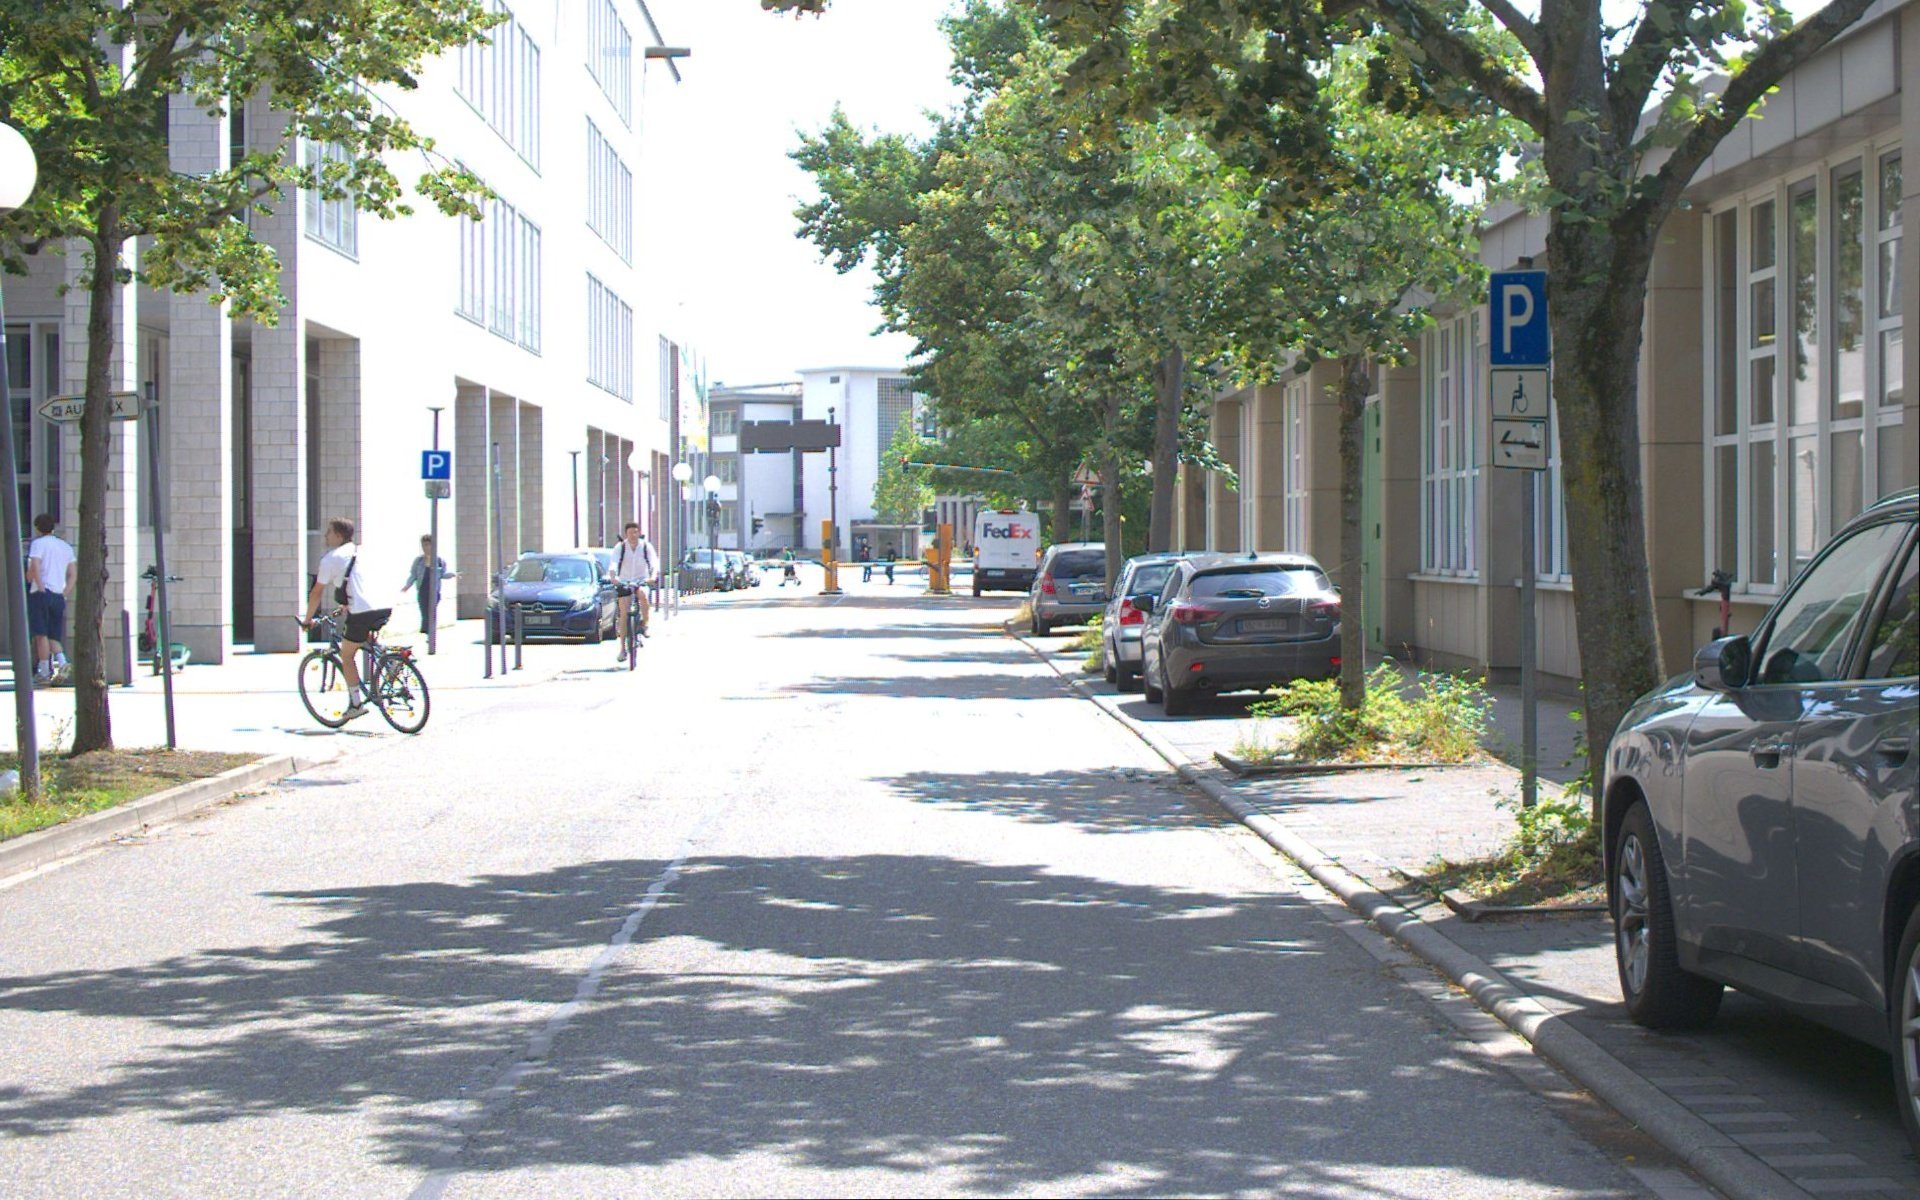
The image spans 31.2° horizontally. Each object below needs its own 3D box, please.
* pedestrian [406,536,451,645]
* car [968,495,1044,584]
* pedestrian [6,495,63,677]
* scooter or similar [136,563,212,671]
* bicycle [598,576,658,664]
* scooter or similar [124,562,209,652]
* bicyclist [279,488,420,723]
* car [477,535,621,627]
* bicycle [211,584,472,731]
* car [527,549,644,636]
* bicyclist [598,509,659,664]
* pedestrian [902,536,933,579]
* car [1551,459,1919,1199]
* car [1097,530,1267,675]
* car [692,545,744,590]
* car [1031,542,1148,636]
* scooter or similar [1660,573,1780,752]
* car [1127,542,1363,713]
[{"bbox_3d":[-8.394,-0.158,54.235,0.649,1.695,0.889,0,1,-11],"label":"pedestrian"},{"bbox_3d":[1.356,-1.800,102.508,2.083,2.531,4.316,1,1,-1],"label":"car"},{"bbox_3d":[-9.971,-0.156,37.019,0.412,1.935,0.663,1,1,-30],"label":"pedestrian"},{"bbox_3d":[-9.082,0.186,39.760,0.454,1.219,1.549,0,1,3],"label":"scooter or similar"},{"bbox_3d":[-4.362,0.252,45.296,0.685,1.126,1.889,0,1,-3],"label":"bicycle"},{"bbox_3d":[-10.878,0.082,47.084,0.525,1.206,1.557,0,1,-38],"label":"scooter or similar"},{"bbox_3d":[-5.317,0.036,29.946,0.874,2.007,0.849,0,1,-43],"label":"bicyclist"},{"bbox_3d":[-6.640,-0.308,55.861,1.766,1.423,4.234,0,0,1],"label":"car"},{"bbox_3d":[-5.437,0.478,30.063,0.883,1.195,2.748,0,1,-43],"label":"bicycle"},{"bbox_3d":[-6.595,-0.150,60.905,1.631,1.479,4.178,0,0,0],"label":"car"},{"bbox_3d":[-4.371,-0.188,45.328,0.711,2.007,1.019,-1,1,-3],"label":"bicyclist"},{"bbox_3d":[-2.071,-2.082,167.985,1.416,2.100,0.995,1,1,-4],"label":"pedestrian"},{"bbox_3d":[2.987,0.502,9.172,1.822,1.658,4.584,-1,0,-2],"label":"car"},{"bbox_3d":[2.436,0.004,38.393,1.616,1.533,3.780,0,1,0],"label":"car"},{"bbox_3d":[-8.540,-1.150,121.549,1.646,1.493,3.729,0,-1,-1],"label":"car"},{"bbox_3d":[2.249,-0.217,60.655,1.858,1.568,4.000,-1,1,0],"label":"car"},{"bbox_3d":[5.547,0.437,25.139,0.511,1.245,1.486,-1,1,-1],"label":"scooter or similar"},{"bbox_3d":[2.644,0.210,32.811,1.780,1.471,4.462,-1,1,-1],"label":"car"}]
